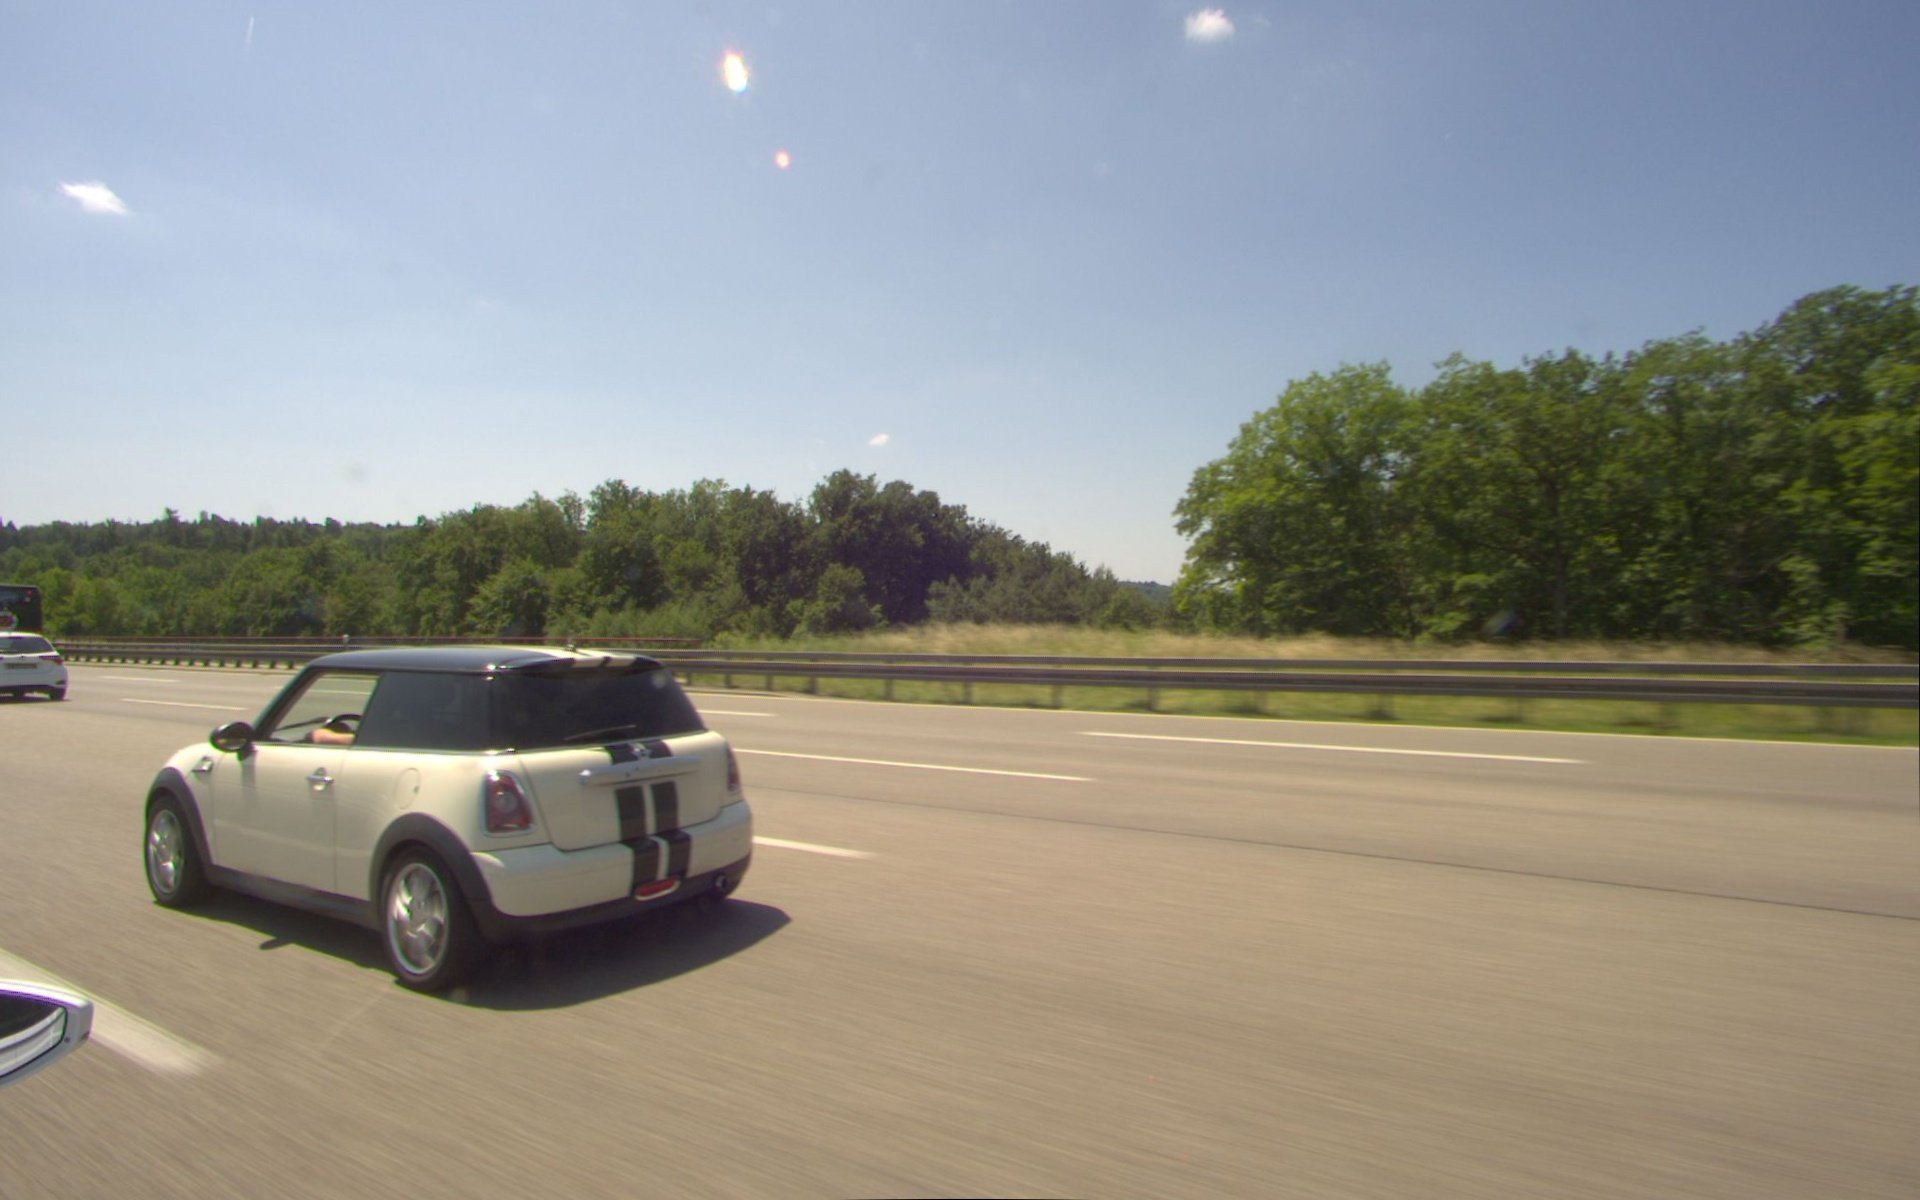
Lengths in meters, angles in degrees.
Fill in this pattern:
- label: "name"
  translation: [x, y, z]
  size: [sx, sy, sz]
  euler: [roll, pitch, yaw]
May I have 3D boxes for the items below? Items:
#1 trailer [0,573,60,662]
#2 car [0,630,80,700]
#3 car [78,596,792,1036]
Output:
- label: "trailer"
  translation: [-45.379, 0.869, 45.722]
  size: [13.351, 3.737, 2.851]
  euler: [-1, 0, 33]
- label: "car"
  translation: [-21.494, 1.403, 22.307]
  size: [4.312, 1.452, 1.664]
  euler: [-1, -2, 32]
- label: "car"
  translation: [-3.035, 0.802, 5.579]
  size: [3.943, 1.573, 1.837]
  euler: [1, 1, 33]
